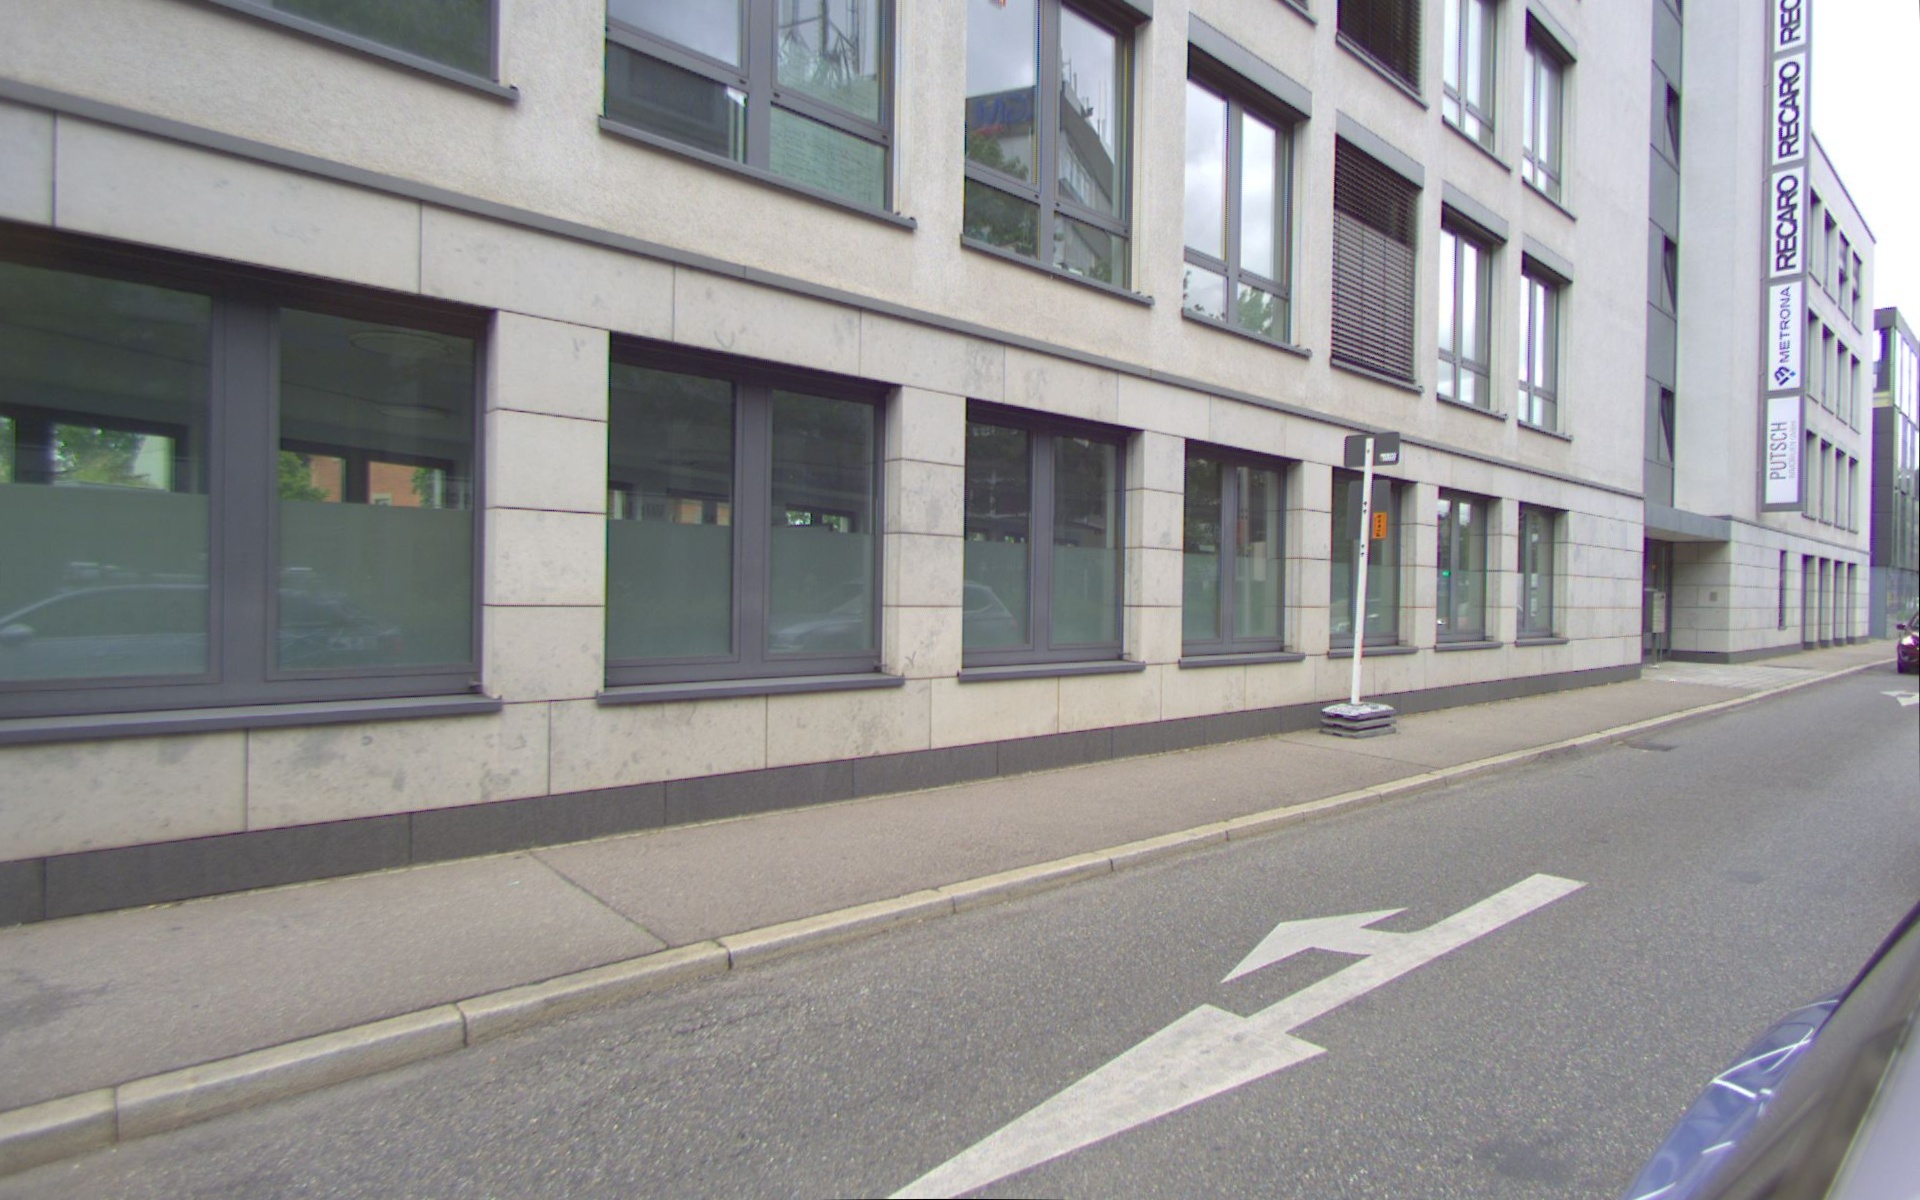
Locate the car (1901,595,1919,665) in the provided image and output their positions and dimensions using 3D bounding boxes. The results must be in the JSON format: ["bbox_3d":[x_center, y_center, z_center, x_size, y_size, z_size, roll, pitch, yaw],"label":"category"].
[{"bbox_3d":[22.688,0.654,22.701,3.930,1.511,1.888,0,-2,-41],"label":"car"}]
